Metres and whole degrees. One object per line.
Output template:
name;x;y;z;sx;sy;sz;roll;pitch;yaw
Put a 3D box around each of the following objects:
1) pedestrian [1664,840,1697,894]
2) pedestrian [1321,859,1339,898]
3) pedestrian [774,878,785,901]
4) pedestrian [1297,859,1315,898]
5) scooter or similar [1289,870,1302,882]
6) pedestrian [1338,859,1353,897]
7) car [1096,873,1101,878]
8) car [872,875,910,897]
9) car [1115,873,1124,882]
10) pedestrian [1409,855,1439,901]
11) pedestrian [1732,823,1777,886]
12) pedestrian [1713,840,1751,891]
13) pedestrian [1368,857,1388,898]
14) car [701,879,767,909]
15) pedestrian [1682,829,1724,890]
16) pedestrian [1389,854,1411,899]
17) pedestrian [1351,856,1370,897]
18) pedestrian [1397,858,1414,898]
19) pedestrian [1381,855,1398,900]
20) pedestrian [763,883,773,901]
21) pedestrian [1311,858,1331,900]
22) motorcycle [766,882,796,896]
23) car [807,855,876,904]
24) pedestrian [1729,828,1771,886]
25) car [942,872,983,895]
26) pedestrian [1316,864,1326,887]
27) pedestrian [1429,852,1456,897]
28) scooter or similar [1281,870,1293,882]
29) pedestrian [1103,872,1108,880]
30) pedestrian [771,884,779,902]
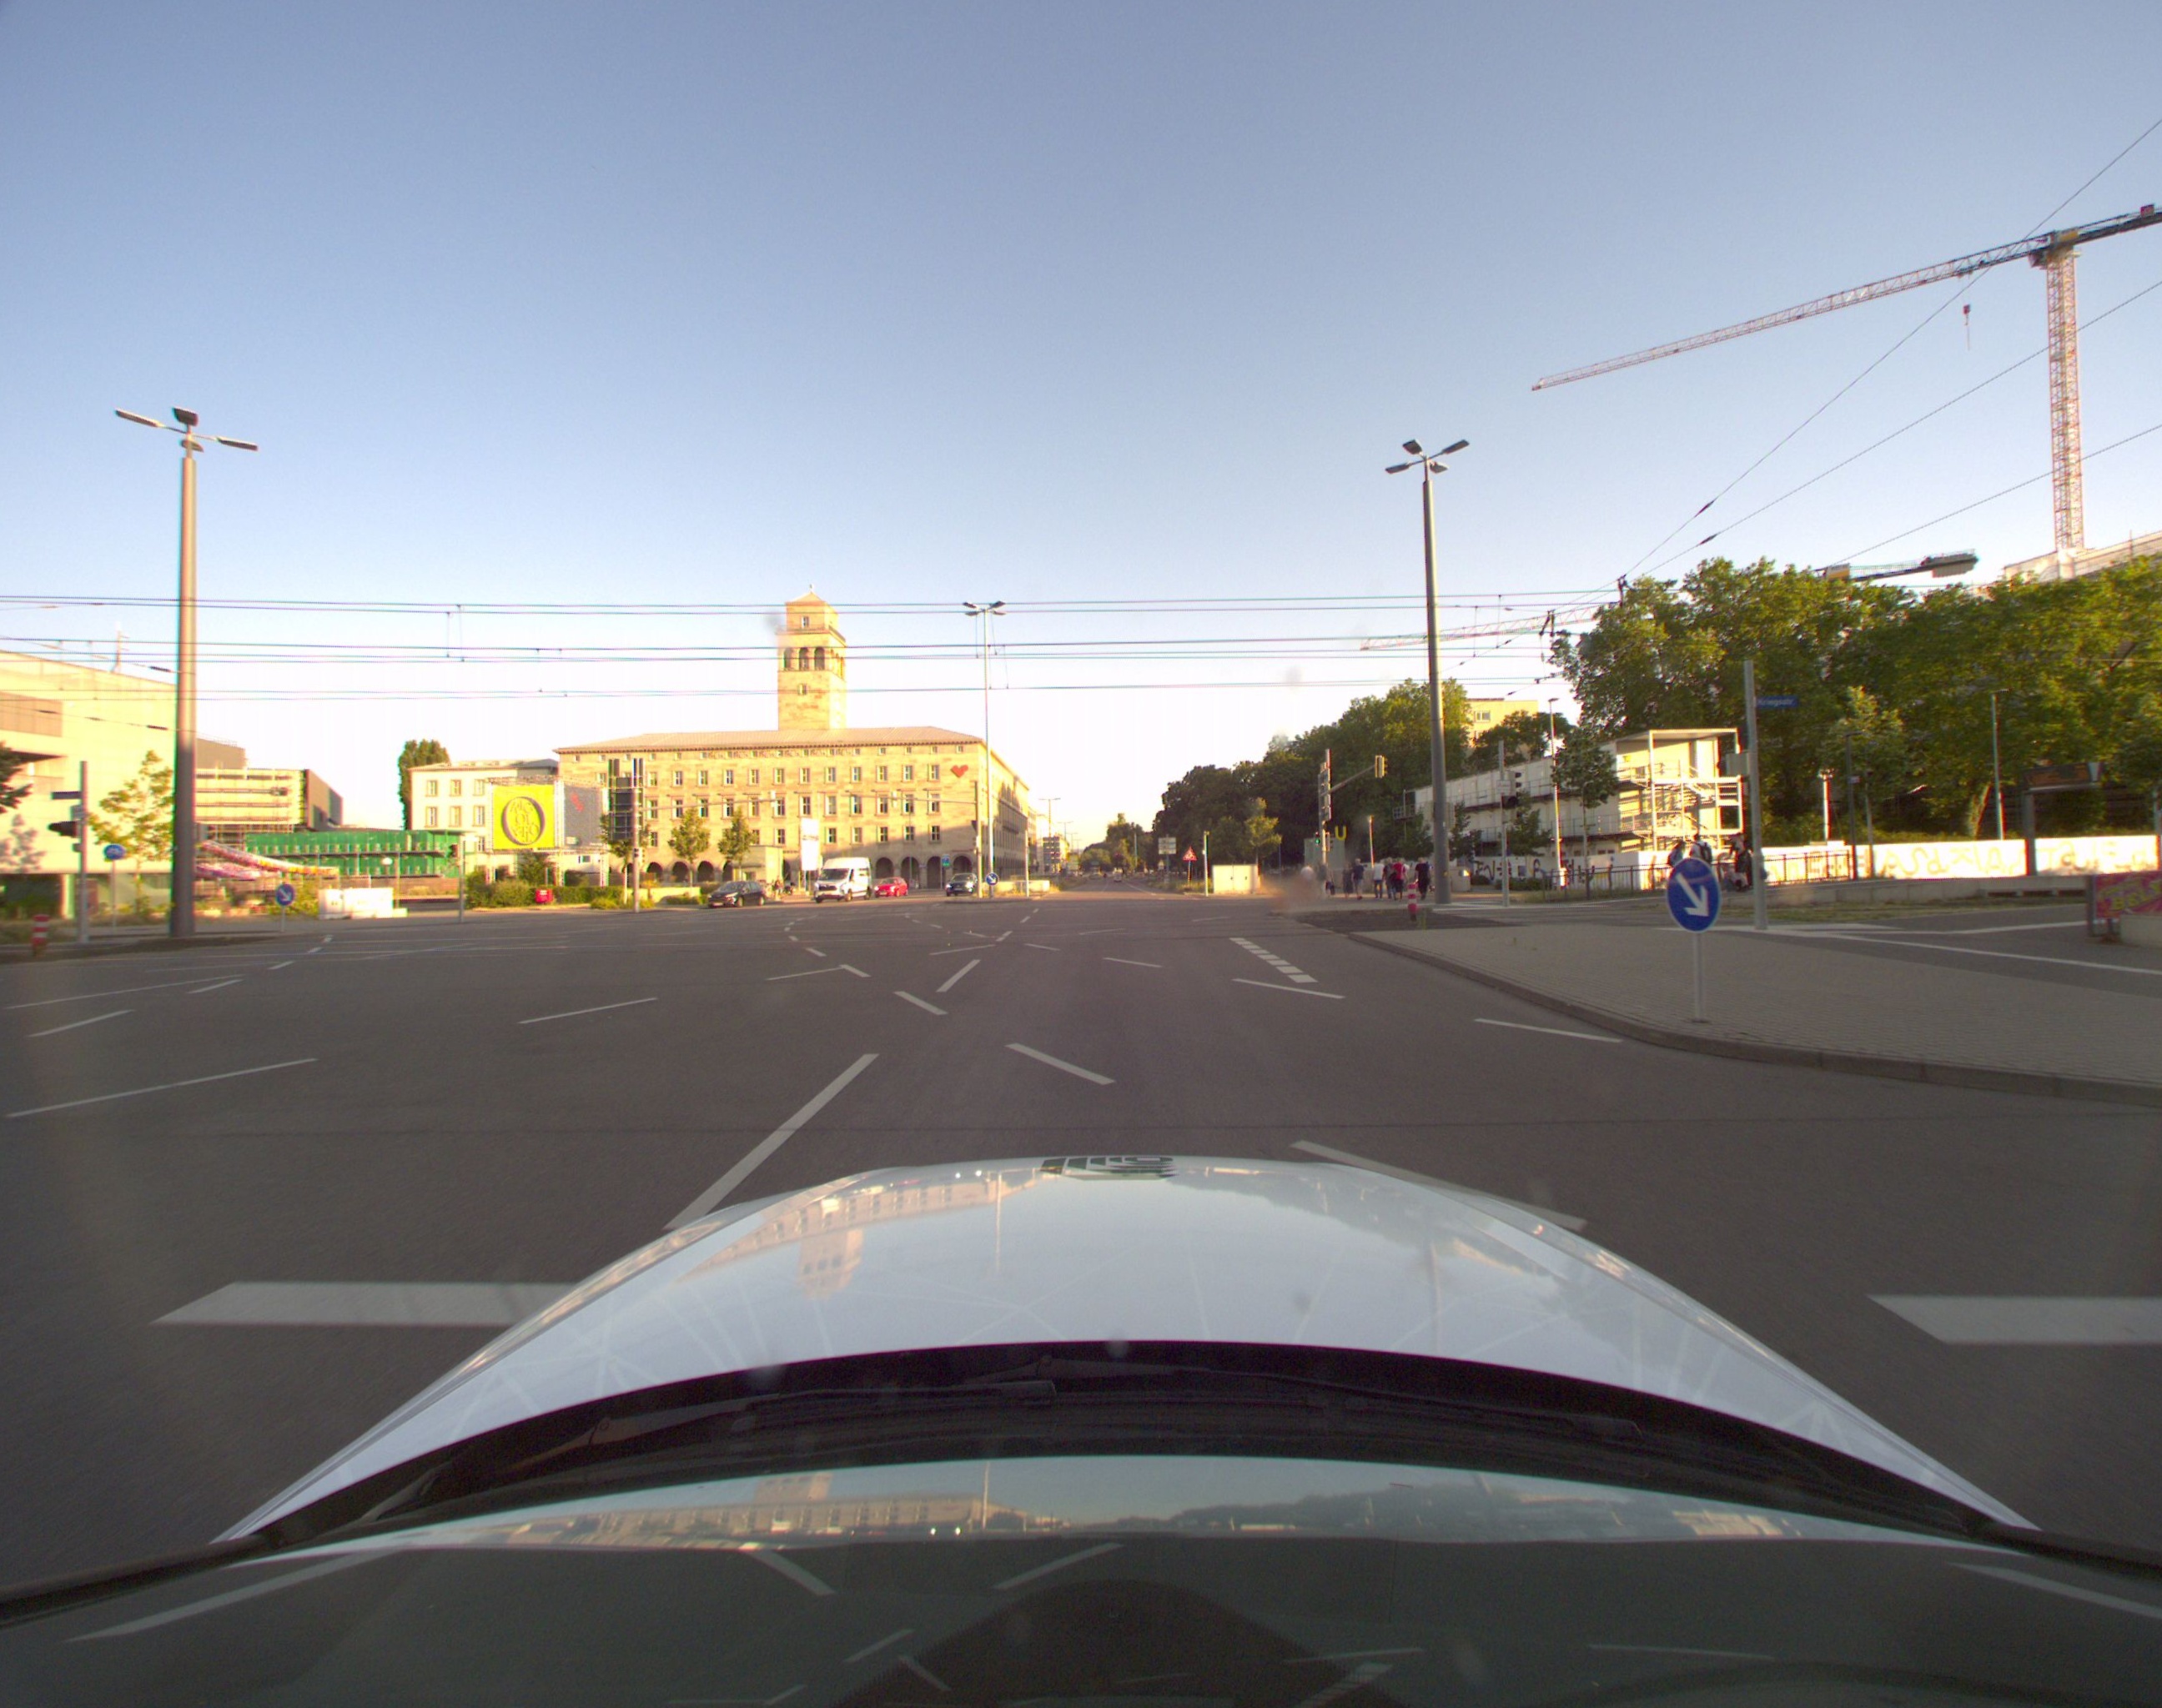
pedestrian;17.987;0.380;24.441;0.569;1.592;0.536;-1;-1;1
pedestrian;11.377;1.120;37.209;0.705;1.725;0.671;-1;-1;18
pedestrian;-22.198;2.606;59.946;0.620;1.744;0.459;0;-2;-4
pedestrian;10.331;1.122;37.359;0.705;1.725;0.671;-1;-1;17
scooter or similar;22.712;2.283;86.377;0.567;1.203;2.984;-1;-1;1
pedestrian;11.744;1.054;36.151;0.555;1.655;0.907;-2;-1;22
car;4.595;5.751;214.837;1.364;1.234;3.047;-1;-1;3
car;-14.182;2.367;61.126;1.731;1.487;4.002;-1;0;2
car;6.988;4.269;148.784;1.478;1.696;2.974;-1;-1;1
pedestrian;13.777;0.947;32.716;0.803;1.791;0.800;-1;-1;-2
pedestrian;19.022;0.025;23.019;0.706;1.725;0.671;-2;-1;13
pedestrian;19.037;0.332;23.835;0.670;1.441;0.718;-2;-1;23
pedestrian;12.535;0.989;34.387;0.705;1.725;0.919;-2;-1;19
car;-19.685;2.245;46.398;1.816;1.466;4.159;-1;0;2
pedestrian;17.846;0.161;23.384;0.706;1.725;0.671;-2;-1;14
pedestrian;12.492;0.885;31.893;0.697;1.734;0.851;-1;-1;17
pedestrian;12.265;0.979;35.747;0.673;1.757;0.907;-2;-1;22
pedestrian;13.795;1.002;34.644;0.568;1.679;0.641;-1;-1;15
pedestrian;12.612;0.947;33.290;0.568;1.791;0.641;-1;-1;15
pedestrian;-22.899;2.803;59.553;0.505;1.301;0.700;0;-2;-4
pedestrian;9.920;1.021;33.675;0.706;1.725;0.918;-1;-1;12
motorcycle;-26.343;3.055;71.542;2.306;1.196;0.824;-1;-1;-6
car;-14.682;1.545;50.327;2.270;2.776;6.085;-1;-1;1
pedestrian;20.480;0.088;24.941;0.709;1.725;0.668;-1;-1;-2
car;-7.589;1.896;52.578;1.815;1.342;4.003;-1;0;3
pedestrian;19.683;1.763;66.814;0.663;1.842;0.714;-1;-1;6
pedestrian;14.843;0.830;33.489;0.800;1.791;0.802;-1;-1;9
scooter or similar;21.812;2.305;86.242;0.567;1.203;2.984;-1;-1;1
pedestrian;5.203;4.775;174.222;0.903;1.671;1.307;-1;-1;0
pedestrian;-22.214;2.811;59.114;0.420;1.301;0.459;0;-2;-4
